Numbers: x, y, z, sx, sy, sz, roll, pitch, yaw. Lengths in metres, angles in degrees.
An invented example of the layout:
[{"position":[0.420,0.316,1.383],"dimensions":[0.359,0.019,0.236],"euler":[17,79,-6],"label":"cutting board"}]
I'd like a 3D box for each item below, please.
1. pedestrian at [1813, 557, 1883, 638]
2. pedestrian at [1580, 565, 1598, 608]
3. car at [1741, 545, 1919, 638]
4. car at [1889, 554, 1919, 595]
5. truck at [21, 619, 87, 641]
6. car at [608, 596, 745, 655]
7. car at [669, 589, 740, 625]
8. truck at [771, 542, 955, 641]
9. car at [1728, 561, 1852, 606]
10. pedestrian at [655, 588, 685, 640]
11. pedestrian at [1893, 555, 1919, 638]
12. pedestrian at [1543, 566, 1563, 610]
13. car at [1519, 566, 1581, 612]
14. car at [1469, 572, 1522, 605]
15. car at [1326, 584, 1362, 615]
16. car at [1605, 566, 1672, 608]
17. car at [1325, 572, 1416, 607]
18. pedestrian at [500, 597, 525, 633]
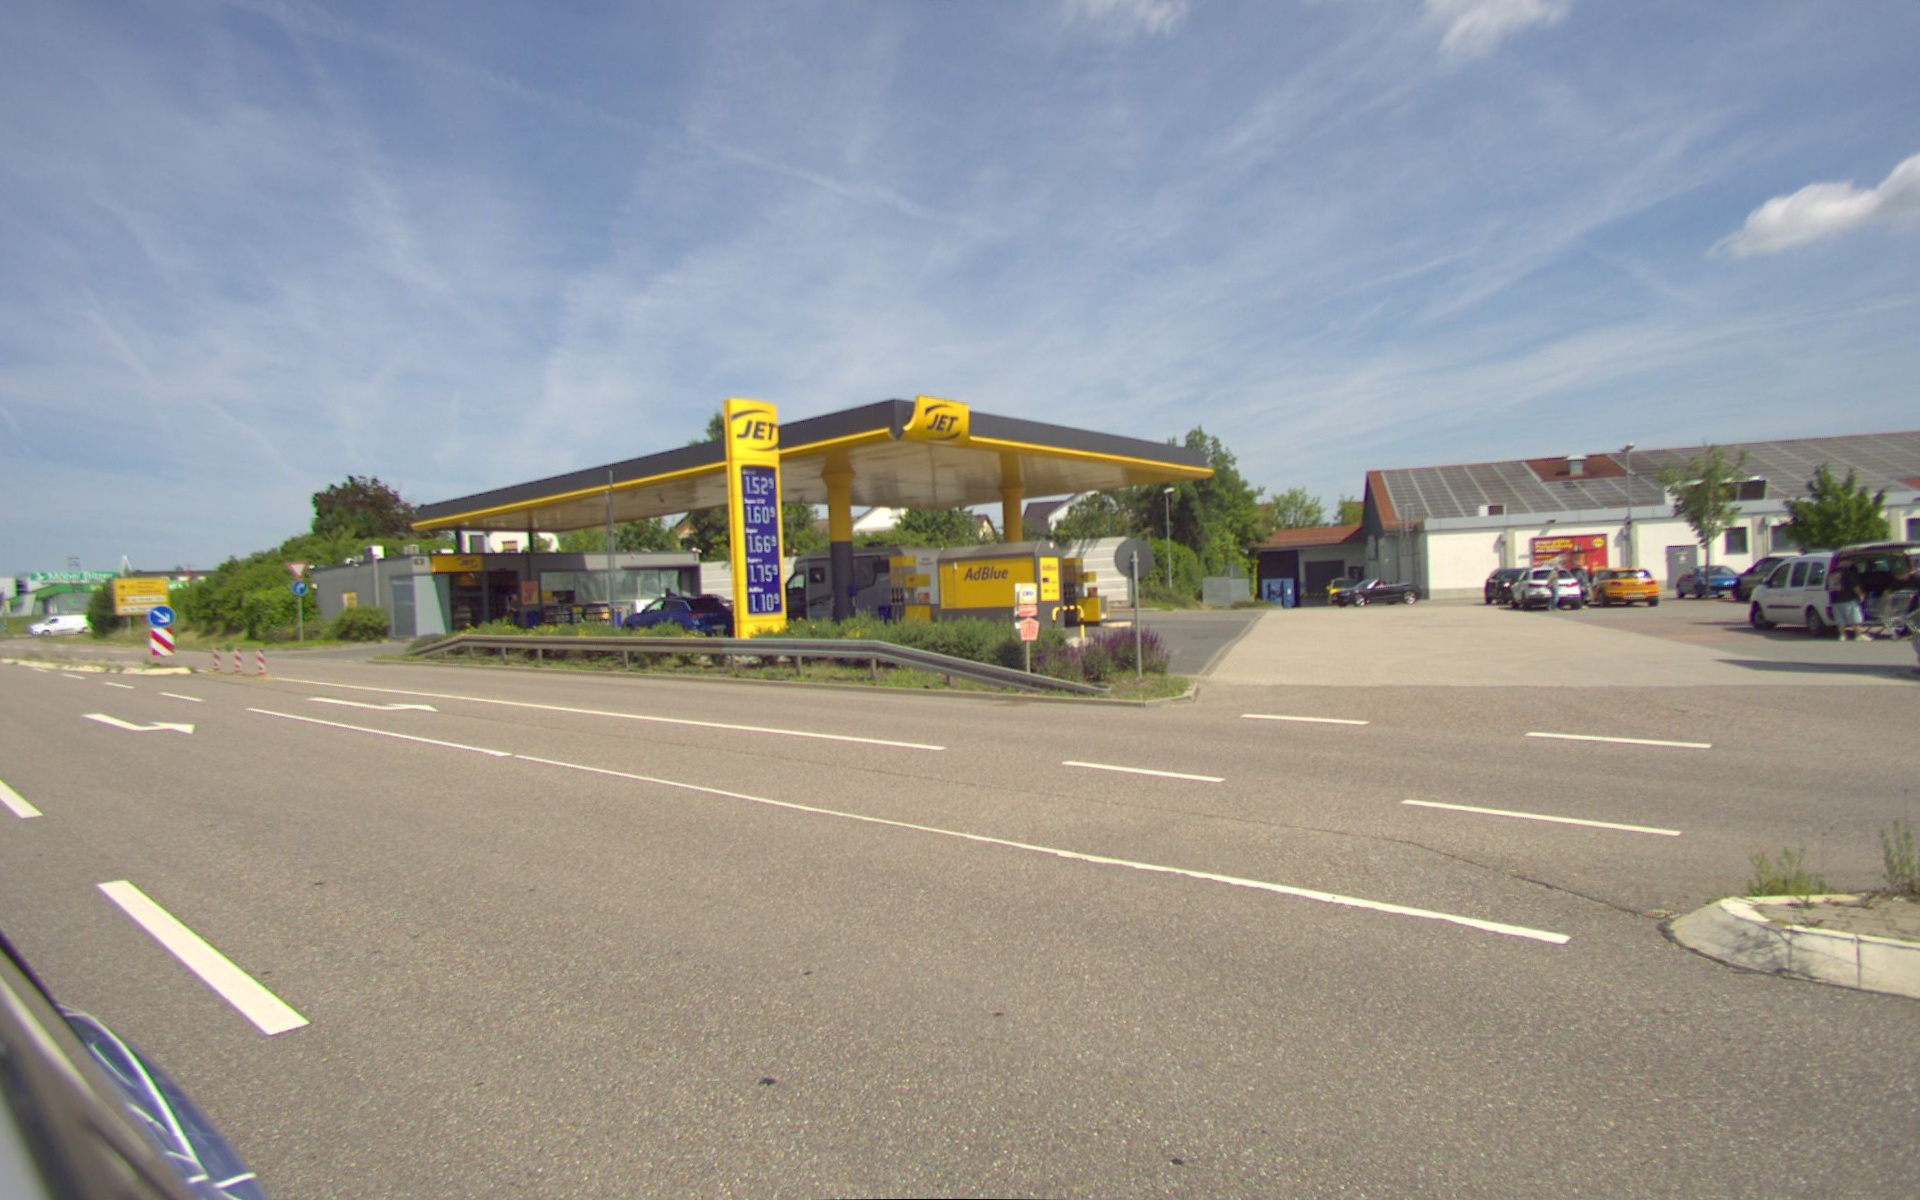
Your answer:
[{"position":[17.812,-0.057,20.320],"dimensions":[0.801,1.587,0.701],"euler":[-1,0,14],"label":"pedestrian"},{"position":[23.049,-0.492,37.096],"dimensions":[0.516,1.564,0.500],"euler":[-1,0,34],"label":"pedestrian"},{"position":[19.329,-0.202,22.401],"dimensions":[1.865,1.825,4.144],"euler":[-2,0,18],"label":"car"},{"position":[34.374,-0.909,34.829],"dimensions":[1.868,1.453,3.981],"euler":[-2,1,15],"label":"car"},{"position":[-93.754,3.093,104.747],"dimensions":[1.995,2.024,4.719],"euler":[-2,1,35],"label":"truck"},{"position":[-8.916,0.800,31.718],"dimensions":[4.258,1.719,1.975],"euler":[-2,-1,38],"label":"car"},{"position":[-13.451,0.357,53.192],"dimensions":[3.987,1.747,1.598],"euler":[0,1,42],"label":"car"},{"position":[-3.297,-0.244,33.160],"dimensions":[6.279,2.944,2.222],"euler":[-1,0,40],"label":"truck"},{"position":[29.301,-0.583,35.894],"dimensions":[1.868,1.453,3.981],"euler":[-2,1,15],"label":"car"},{"position":[-10.629,0.520,37.141],"dimensions":[0.639,1.851,0.788],"euler":[-2,0,42],"label":"pedestrian"},{"position":[18.980,-0.075,19.802],"dimensions":[0.801,1.587,0.701],"euler":[-1,0,14],"label":"pedestrian"},{"position":[21.172,-0.432,36.135],"dimensions":[0.505,1.564,0.510],"euler":[-1,0,39],"label":"pedestrian"},{"position":[22.272,-0.449,38.160],"dimensions":[1.765,1.551,3.955],"euler":[-3,0,33],"label":"car"},{"position":[23.691,-0.528,44.728],"dimensions":[1.713,1.320,3.955],"euler":[-2,1,33],"label":"car"},{"position":[23.913,-0.068,62.948],"dimensions":[1.987,1.823,4.355],"euler":[-2,0,22],"label":"car"},{"position":[25.361,-0.501,37.946],"dimensions":[1.879,1.453,3.958],"euler":[-1,1,31],"label":"car"},{"position":[20.690,-0.506,51.040],"dimensions":[3.816,1.625,1.755],"euler":[-2,0,-6],"label":"car"},{"position":[-18.093,0.614,40.953],"dimensions":[0.899,1.438,0.496],"euler":[-1,0,-23],"label":"pedestrian"}]
